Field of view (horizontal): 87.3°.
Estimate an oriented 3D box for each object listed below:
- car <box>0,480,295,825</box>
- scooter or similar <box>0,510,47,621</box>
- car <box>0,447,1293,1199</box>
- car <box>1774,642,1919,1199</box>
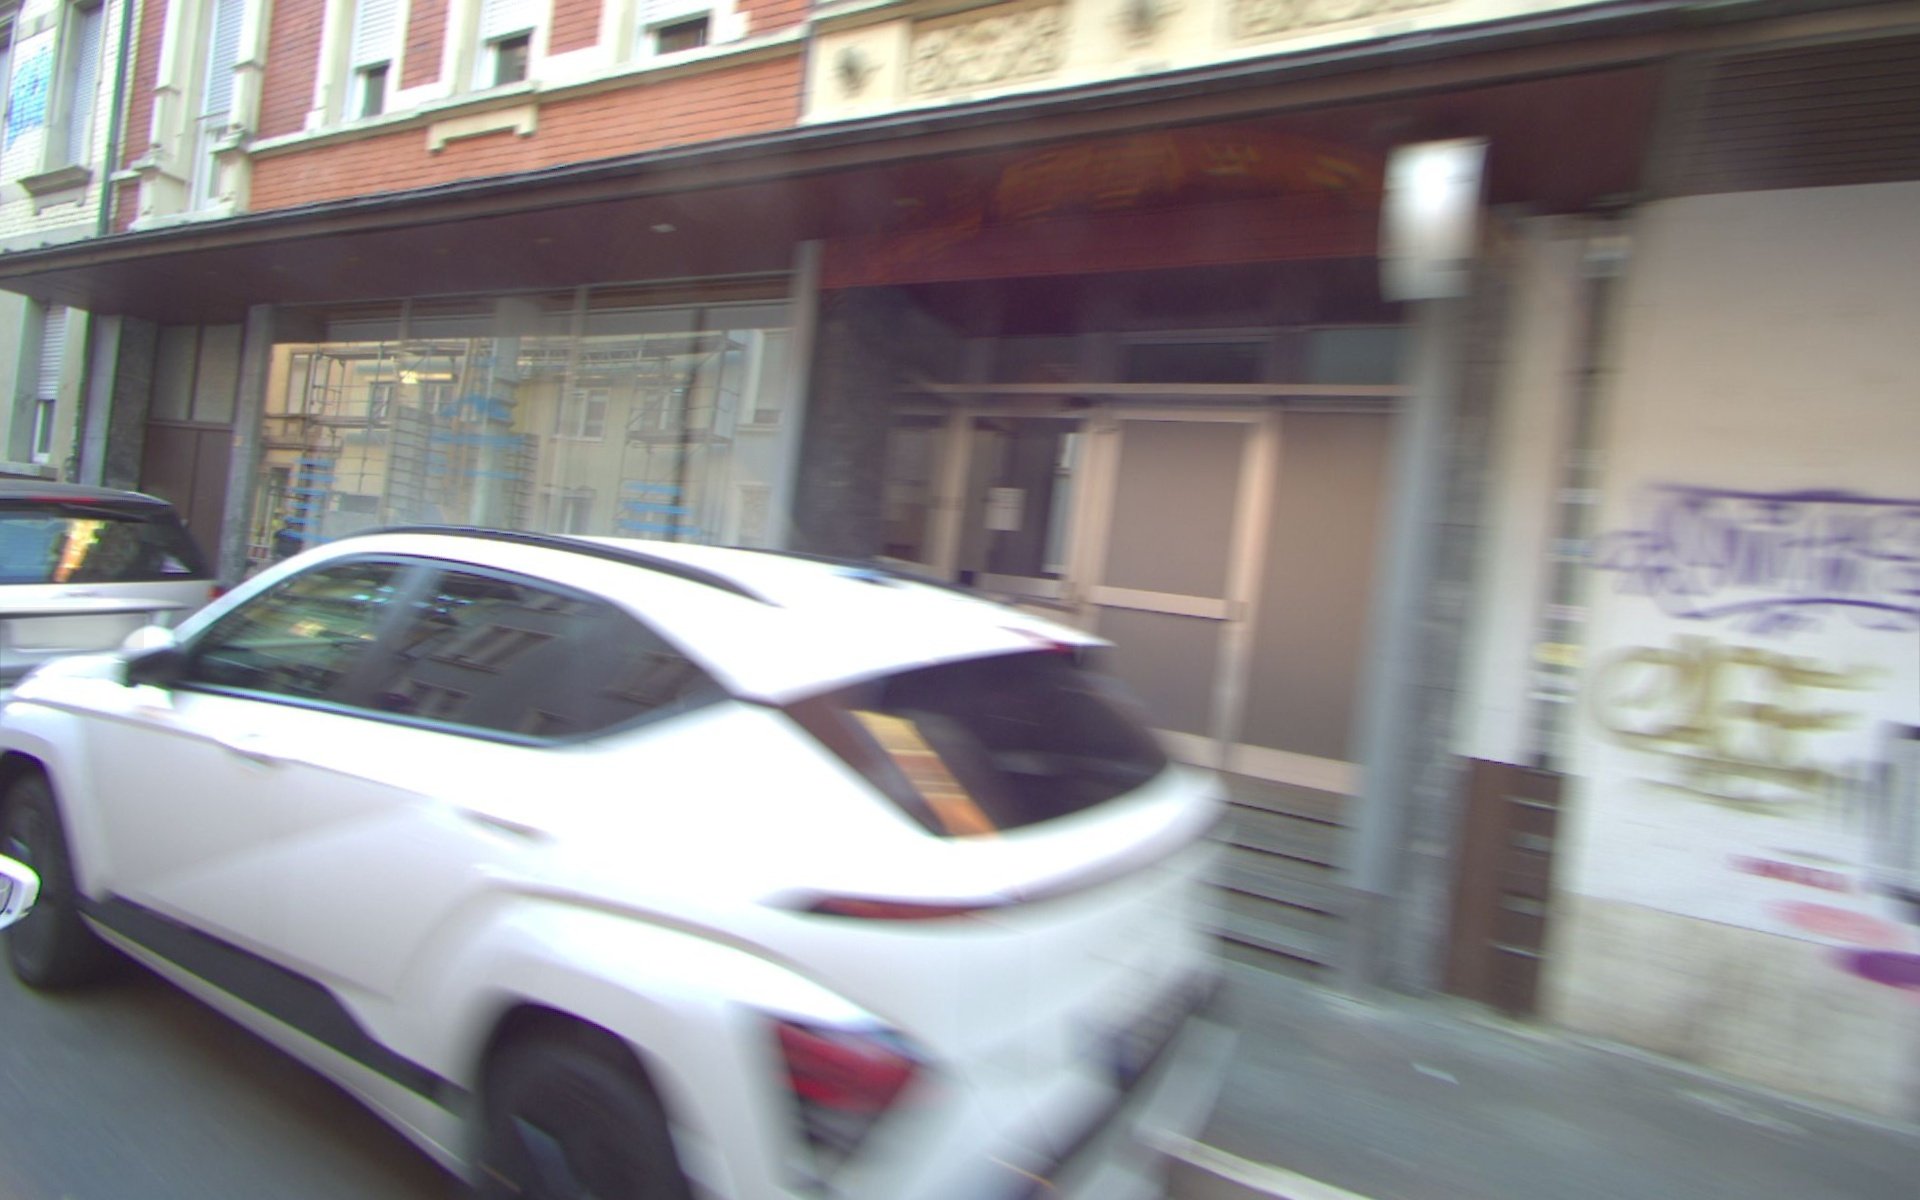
[{"bbox_3d":[-5.772,0.088,5.875,3.750,1.579,1.599,7,0,31],"label":"car"},{"bbox_3d":[-11.146,-0.434,11.610,1.470,1.194,0.418,7,2,30],"label":"scooter or similar"},{"bbox_3d":[-1.401,0.565,3.213,4.267,1.696,1.749,7,0,31],"label":"car"},{"bbox_3d":[2.946,1.061,0.403,3.804,1.676,1.643,7,0,30],"label":"car"}]
